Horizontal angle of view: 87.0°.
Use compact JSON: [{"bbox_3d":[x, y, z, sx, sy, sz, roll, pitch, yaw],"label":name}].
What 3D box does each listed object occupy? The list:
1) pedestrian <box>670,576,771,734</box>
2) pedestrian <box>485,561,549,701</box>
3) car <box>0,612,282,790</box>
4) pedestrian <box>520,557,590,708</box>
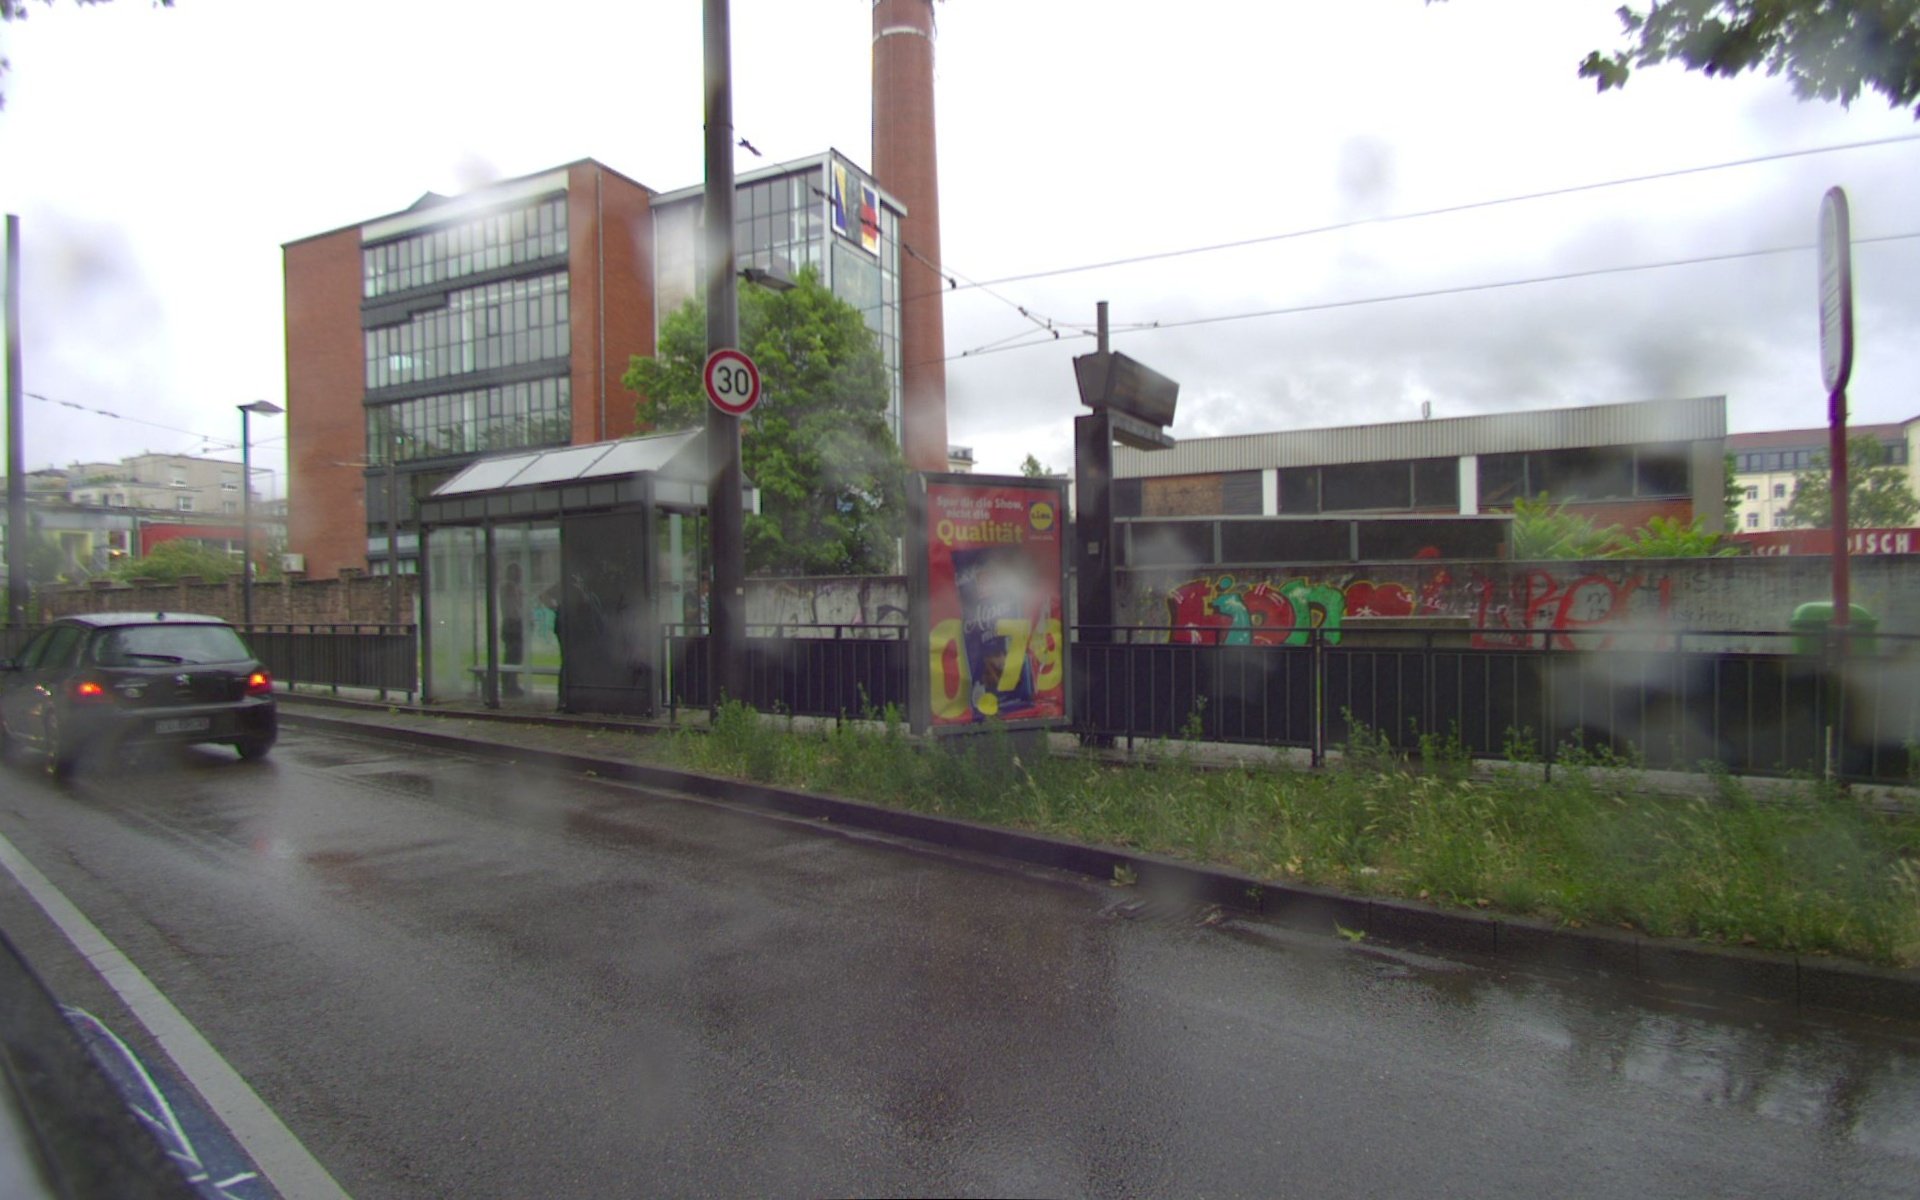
[{"bbox_3d":[-2.888,0.643,12.230,0.841,1.818,0.819,-1,0,30],"label":"pedestrian"},{"bbox_3d":[-5.772,0.391,13.178,0.620,1.762,0.515,-1,0,-41],"label":"pedestrian"},{"bbox_3d":[-8.640,0.882,10.386,3.742,1.470,1.698,-1,0,38],"label":"car"},{"bbox_3d":[-4.915,0.380,12.269,0.620,1.762,0.565,-1,0,-41],"label":"pedestrian"}]
